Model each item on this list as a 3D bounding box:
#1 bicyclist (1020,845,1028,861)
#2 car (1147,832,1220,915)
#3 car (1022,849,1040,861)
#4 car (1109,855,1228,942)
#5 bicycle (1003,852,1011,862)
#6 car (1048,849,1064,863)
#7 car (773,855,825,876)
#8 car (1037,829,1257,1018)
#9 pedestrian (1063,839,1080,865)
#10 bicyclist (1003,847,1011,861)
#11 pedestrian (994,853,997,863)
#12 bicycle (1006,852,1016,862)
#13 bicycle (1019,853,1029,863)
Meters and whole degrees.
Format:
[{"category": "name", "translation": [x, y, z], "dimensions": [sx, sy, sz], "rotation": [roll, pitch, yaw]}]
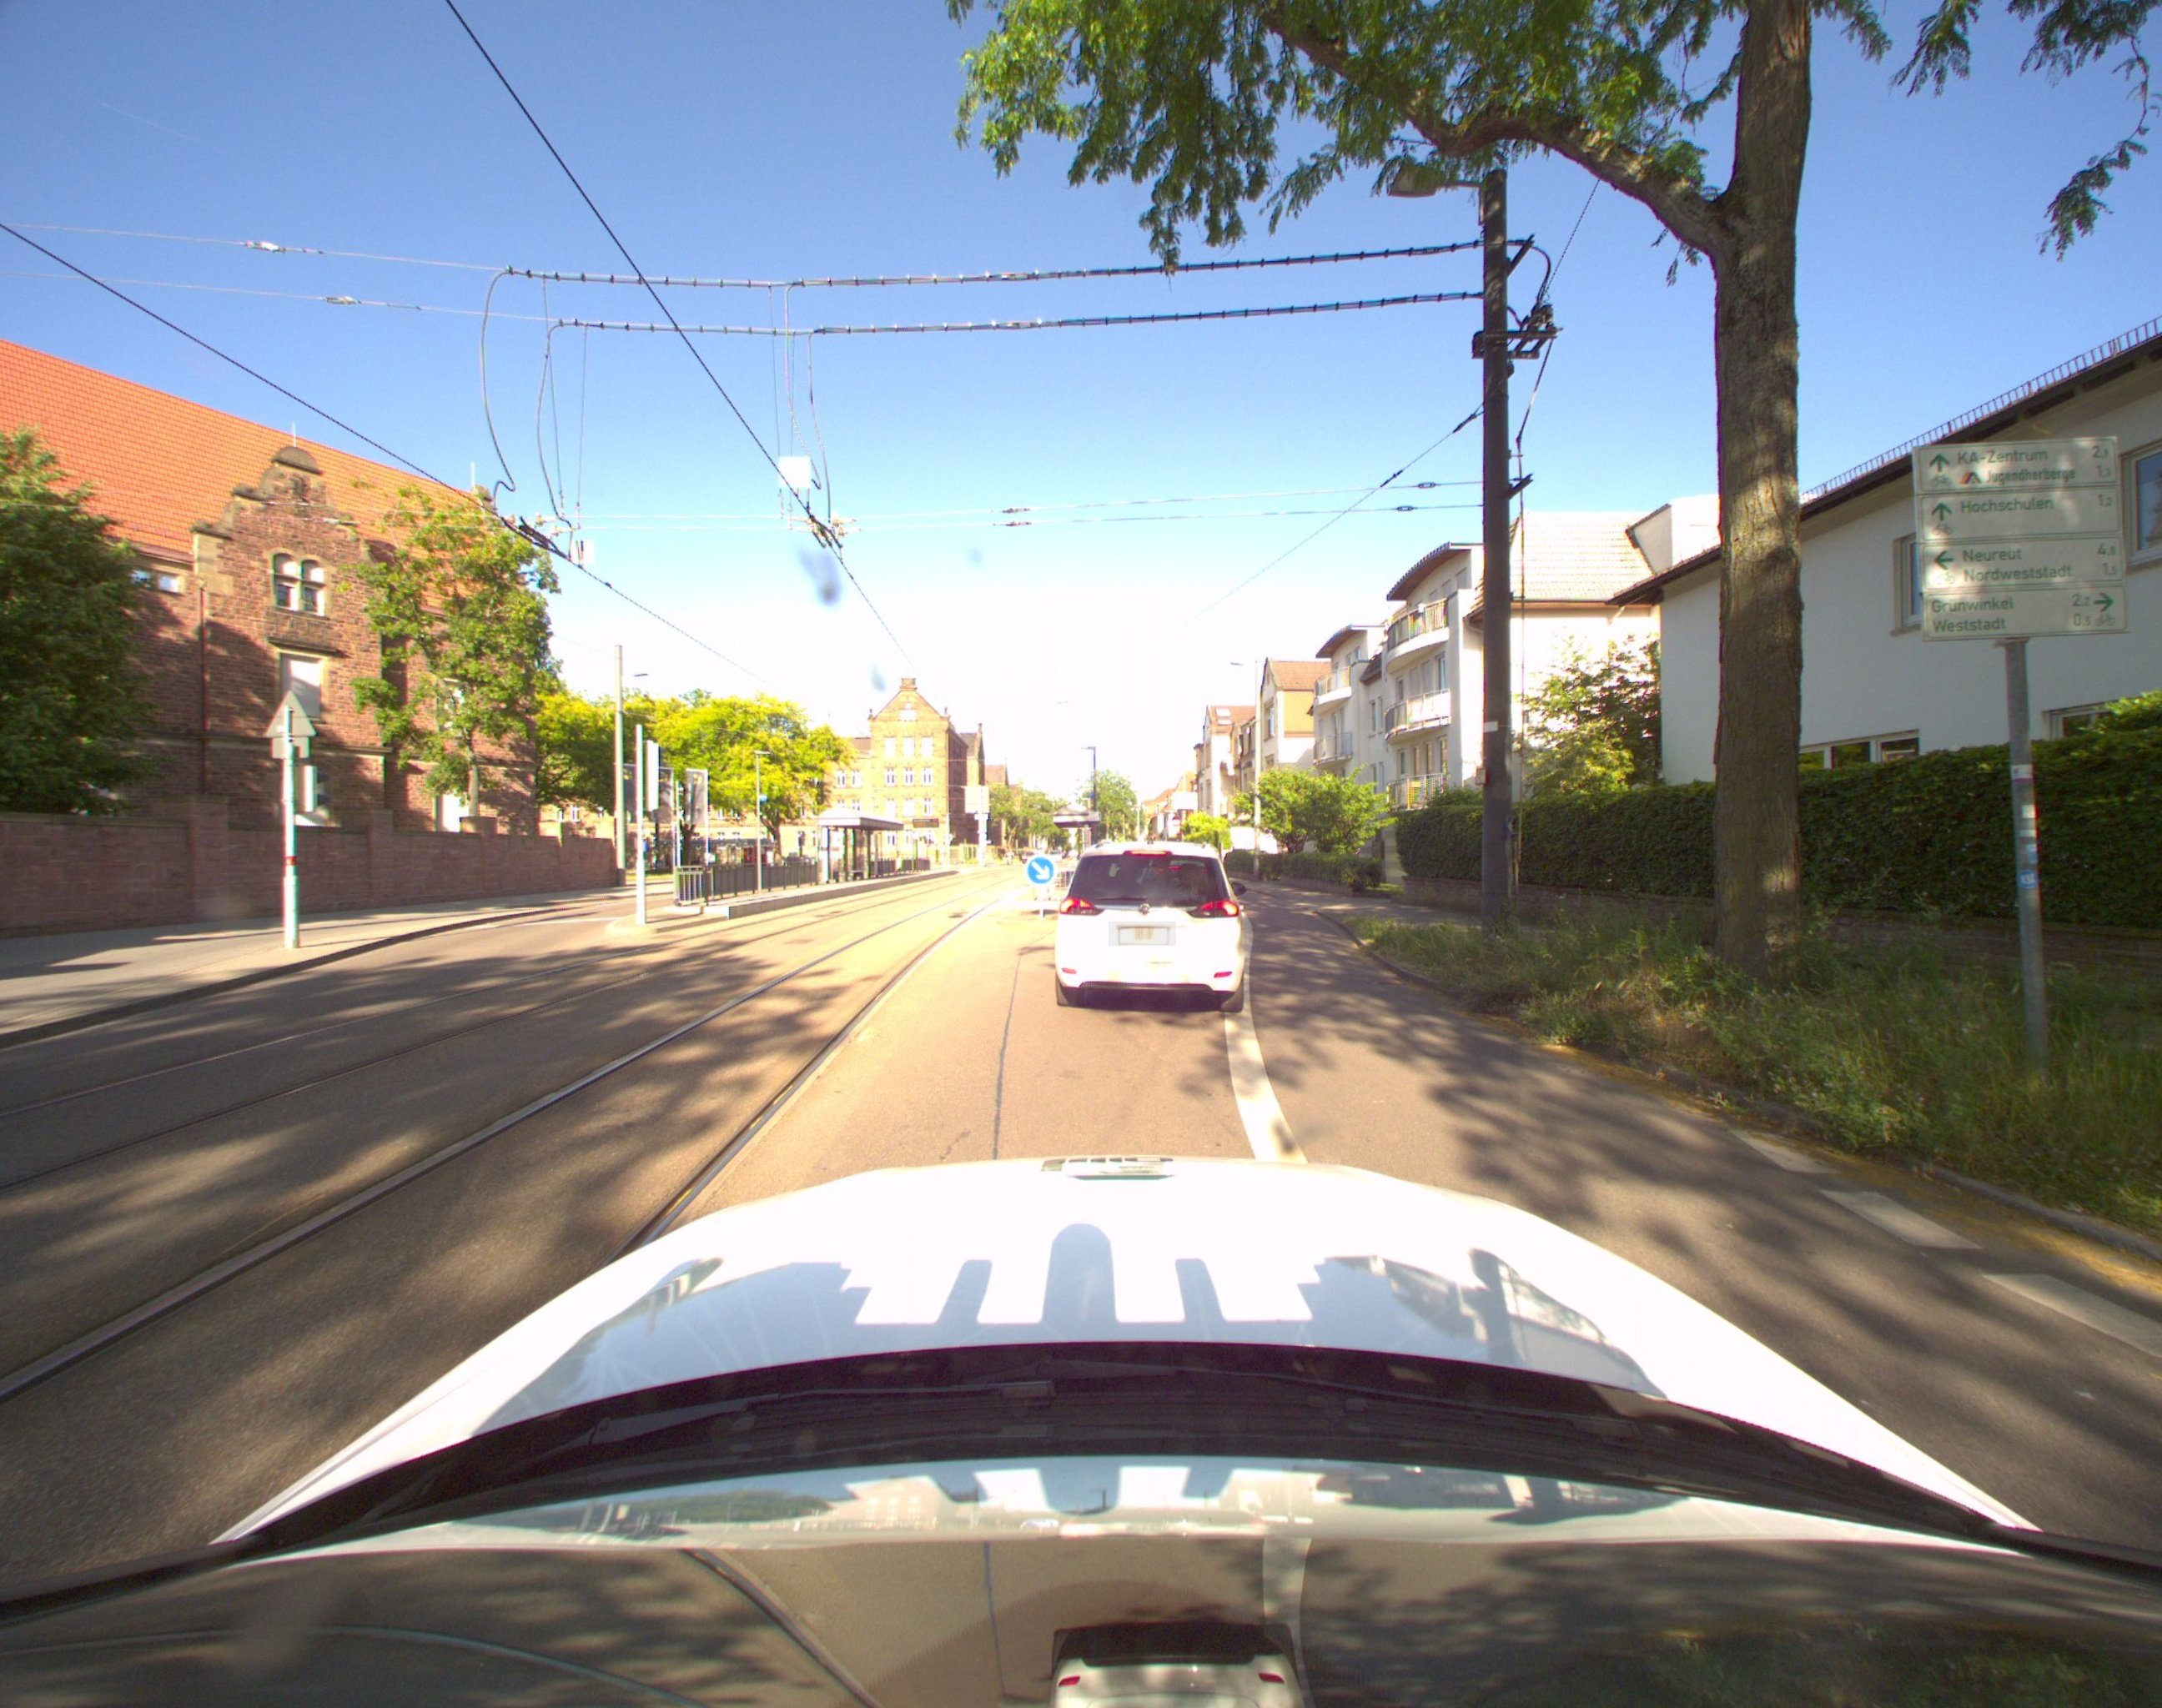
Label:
[{"category": "bicyclist", "translation": [-7.528, -0.141, 107.389], "dimensions": [0.948, 2.013, 0.822], "rotation": [-1, 0, -3]}, {"category": "car", "translation": [2.836, 0.479, 21.922], "dimensions": [1.698, 2.013, 3.917], "rotation": [-1, 0, 10]}, {"category": "car", "translation": [-7.093, 0.143, 115.627], "dimensions": [1.984, 1.722, 4.006], "rotation": [-1, 0, 5]}, {"category": "car", "translation": [1.820, 0.766, 15.809], "dimensions": [1.981, 1.442, 4.011], "rotation": [-1, 0, 10]}, {"category": "bicycle", "translation": [-9.490, 0.358, 104.574], "dimensions": [0.819, 1.297, 2.676], "rotation": [-1, 0, -1]}, {"category": "car", "translation": [-3.345, 0.288, 109.007], "dimensions": [1.986, 1.913, 4.001], "rotation": [-1, 0, 1]}, {"category": "car", "translation": [-25.169, 1.026, 72.736], "dimensions": [3.979, 1.790, 1.997], "rotation": [0, 0, -4]}, {"category": "car", "translation": [0.860, 0.663, 9.171], "dimensions": [1.882, 1.611, 4.238], "rotation": [-1, -2, 8]}, {"category": "pedestrian", "translation": [-0.766, -0.165, 63.214], "dimensions": [1.154, 2.013, 1.117], "rotation": [-2, 1, -6]}, {"category": "bicyclist", "translation": [-9.482, 0.031, 104.863], "dimensions": [0.940, 1.734, 0.861], "rotation": [-1, 0, 0]}, {"category": "pedestrian", "translation": [-12.556, 0.630, 119.555], "dimensions": [0.360, 1.437, 0.549], "rotation": [-1, 0, 2]}, {"category": "bicycle", "translation": [-9.501, 0.360, 111.115], "dimensions": [1.145, 1.297, 2.859], "rotation": [-1, 0, -1]}, {"category": "bicycle", "translation": [-7.549, 0.479, 107.392], "dimensions": [1.145, 1.297, 2.859], "rotation": [-1, 0, -1]}]
